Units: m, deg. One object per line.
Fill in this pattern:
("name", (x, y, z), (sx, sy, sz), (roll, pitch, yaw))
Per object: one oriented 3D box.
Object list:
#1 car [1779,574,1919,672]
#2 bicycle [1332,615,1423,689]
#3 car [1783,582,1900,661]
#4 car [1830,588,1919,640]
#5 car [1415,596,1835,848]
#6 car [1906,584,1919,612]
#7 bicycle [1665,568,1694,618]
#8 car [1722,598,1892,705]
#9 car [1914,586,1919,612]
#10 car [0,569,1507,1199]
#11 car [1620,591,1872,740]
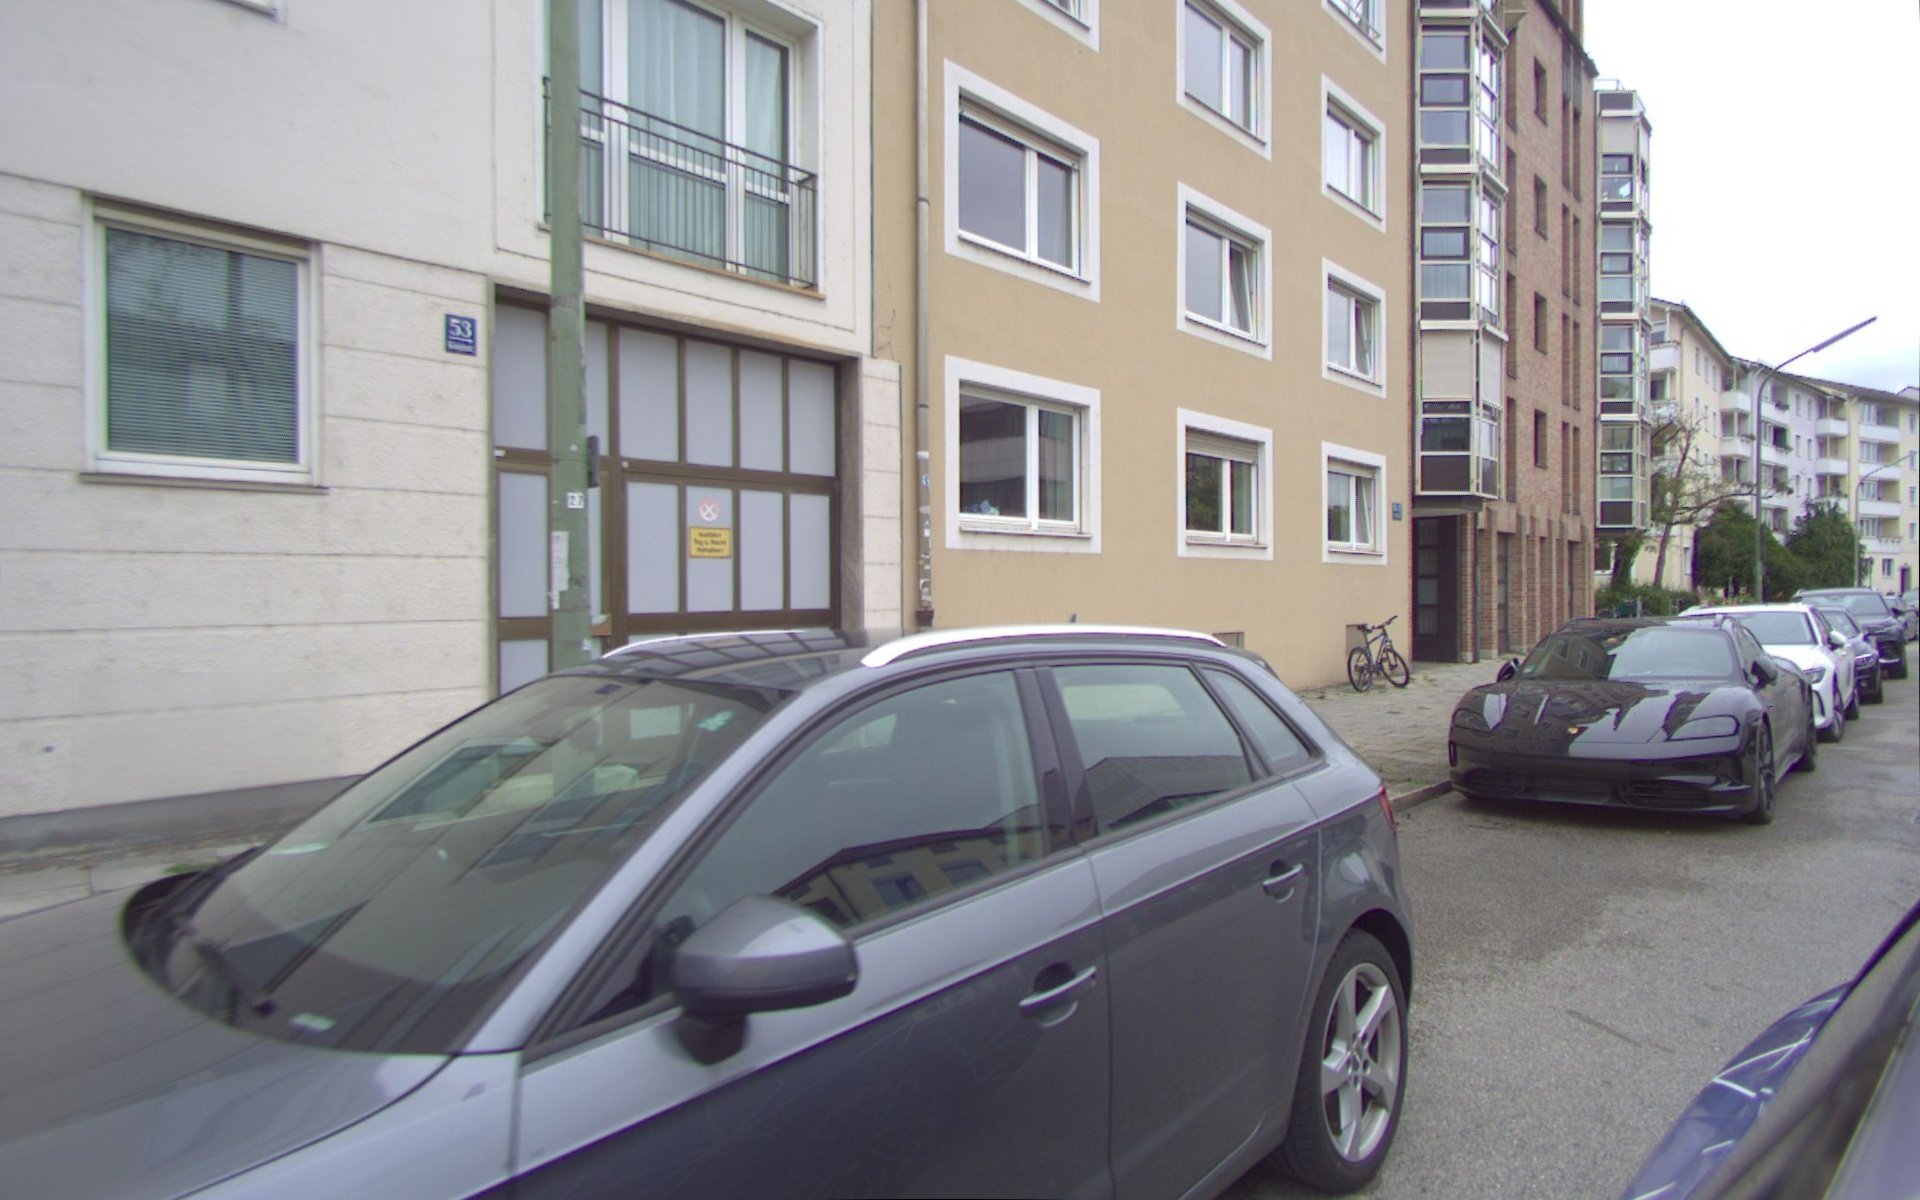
("car", (17.149, 0.354, 19.589), (1.876, 1.666, 4.575), (1, 1, 41))
("bicycle", (6.550, 0.781, 15.834), (1.724, 1.046, 0.677), (0, 1, -44))
("car", (20.188, 0.412, 23.118), (1.877, 1.611, 4.438), (1, 1, 43))
("car", (27.740, 0.394, 30.362), (4.259, 1.455, 1.879), (-1, -2, -42))
("car", (5.798, 0.715, 8.493), (5.030, 1.432, 1.956), (-1, 1, -45))
("car", (53.841, -0.150, 56.226), (3.935, 1.511, 1.751), (-1, 1, -45))
("bicycle", (29.884, -0.288, 42.011), (1.961, 2.039, 0.652), (0, 1, -45))
("car", (13.405, 0.732, 15.946), (1.756, 1.383, 4.708), (-5, -2, 42))
("car", (57.675, -0.050, 59.462), (3.928, 1.494, 1.824), (0, 1, -39))
("car", (-0.426, 0.733, 2.292), (4.330, 1.473, 1.706), (0, -2, -45))
("car", (9.608, 0.621, 12.196), (1.854, 1.432, 4.934), (1, 1, 44))
